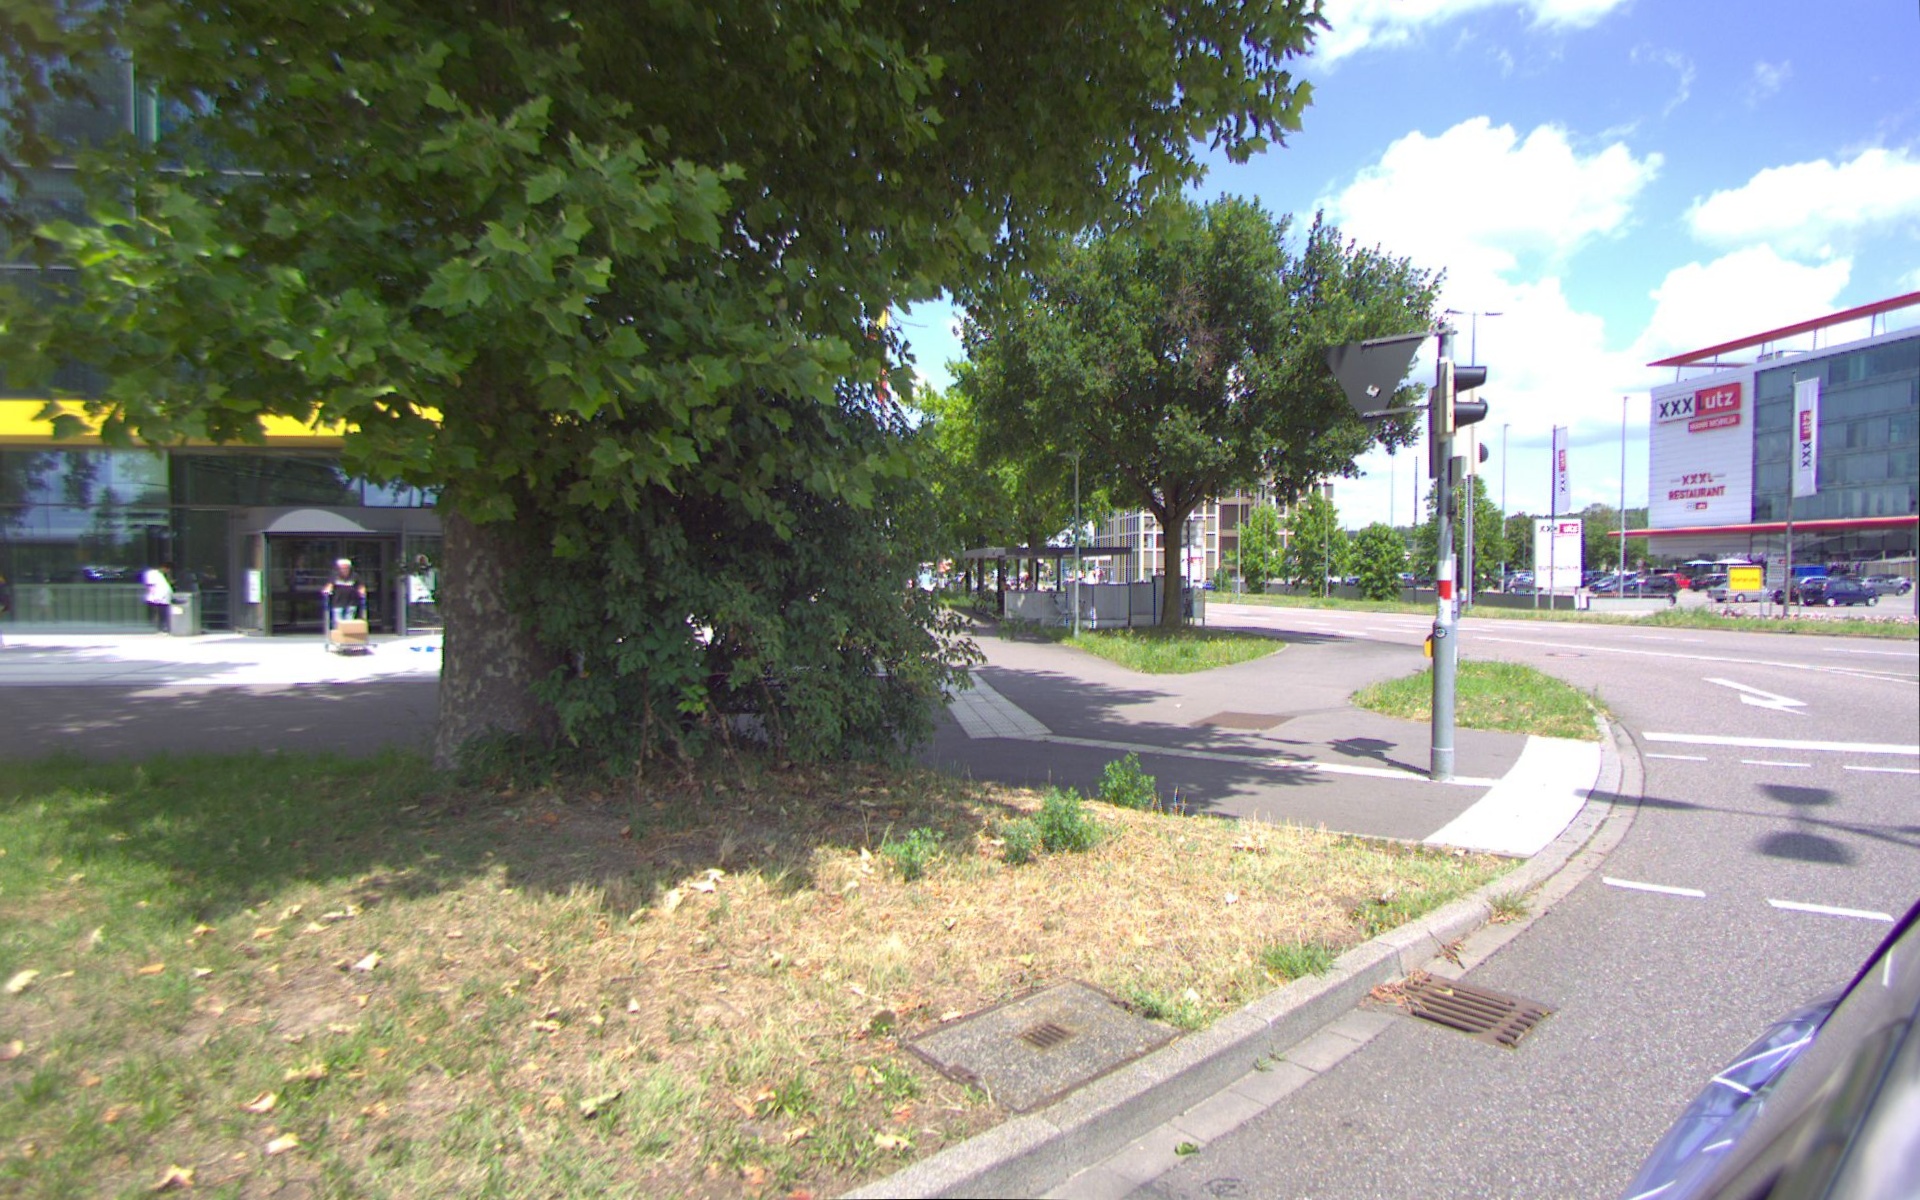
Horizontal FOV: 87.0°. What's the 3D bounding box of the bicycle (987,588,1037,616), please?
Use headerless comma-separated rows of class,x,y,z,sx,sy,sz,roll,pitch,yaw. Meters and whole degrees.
bicycle,1.938,0.073,37.834,1.829,1.007,0.424,0,2,-8

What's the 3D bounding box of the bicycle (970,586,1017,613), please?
bicycle,1.363,-0.025,41.136,1.829,1.007,0.424,2,1,-8

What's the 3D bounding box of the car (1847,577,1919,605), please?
car,69.905,-0.696,76.297,4.277,2.014,2.001,1,0,-3

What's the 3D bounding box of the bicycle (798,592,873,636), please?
bicycle,-3.165,0.353,25.839,1.832,1.007,0.424,3,0,-2

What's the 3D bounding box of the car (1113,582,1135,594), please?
car,21.109,-1.611,130.409,1.762,1.435,4.677,1,1,-2

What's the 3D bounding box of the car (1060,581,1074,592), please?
car,16.674,-2.090,157.691,1.763,1.665,4.171,1,0,-1

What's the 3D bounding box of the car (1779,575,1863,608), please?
car,55.682,-0.544,65.478,4.003,2.014,1.845,-1,1,-5

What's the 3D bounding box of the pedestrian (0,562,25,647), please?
pedestrian,-19.468,0.082,20.450,0.690,1.684,0.805,-1,3,-34

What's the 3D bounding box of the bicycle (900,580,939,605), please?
bicycle,-1.964,-0.384,49.053,2.004,1.121,0.569,3,2,38

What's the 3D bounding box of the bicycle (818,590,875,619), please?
bicycle,-3.691,0.158,32.945,1.829,0.893,0.424,1,1,-8

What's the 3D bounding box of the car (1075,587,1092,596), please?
car,17.694,-1.243,145.469,1.762,1.267,4.309,1,0,-2

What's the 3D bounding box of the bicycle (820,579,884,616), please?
bicycle,-3.772,-0.097,35.347,2.110,1.245,0.720,1,0,6

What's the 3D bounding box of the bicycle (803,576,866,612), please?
bicycle,-3.764,-0.180,30.324,1.829,1.007,0.424,1,2,-8

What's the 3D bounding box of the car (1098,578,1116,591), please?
car,20.817,-2.215,143.705,1.762,1.723,4.229,1,0,-2

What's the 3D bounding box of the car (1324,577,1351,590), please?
car,53.464,-2.328,143.456,1.819,1.856,4.679,1,1,-5

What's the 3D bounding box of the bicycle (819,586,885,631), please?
bicycle,-2.870,0.239,26.890,1.646,1.172,0.462,1,0,-18

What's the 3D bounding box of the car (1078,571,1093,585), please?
car,19.485,-3.362,157.682,1.827,2.069,3.577,1,0,-1

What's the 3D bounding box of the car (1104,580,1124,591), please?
car,20.796,-1.934,136.884,1.762,1.419,4.847,-1,0,-2

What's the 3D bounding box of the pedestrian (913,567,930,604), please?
pedestrian,-1.886,-0.699,49.011,0.522,1.742,0.626,2,2,38

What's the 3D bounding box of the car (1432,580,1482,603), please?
car,52.623,-0.937,107.097,4.276,2.358,2.002,0,1,-4

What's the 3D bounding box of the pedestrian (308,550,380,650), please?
pedestrian,-12.155,-0.005,19.965,0.882,1.909,0.962,0,0,36

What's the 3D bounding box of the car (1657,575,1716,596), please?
car,69.169,-1.402,96.381,4.276,2.014,2.002,0,1,-4

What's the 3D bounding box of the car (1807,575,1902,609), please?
car,55.673,-0.540,63.048,4.276,2.014,2.002,-1,1,-4

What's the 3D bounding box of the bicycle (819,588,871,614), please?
bicycle,-4.150,0.035,36.493,1.831,0.893,0.471,1,0,-3

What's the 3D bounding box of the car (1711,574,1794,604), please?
car,54.893,-0.772,70.170,4.276,2.014,2.002,0,1,-4

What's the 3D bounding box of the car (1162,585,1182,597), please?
car,26.390,-1.118,126.084,1.594,1.488,4.116,1,1,1

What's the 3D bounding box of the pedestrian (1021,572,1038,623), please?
pedestrian,2.313,-0.090,33.435,0.536,1.683,0.545,0,0,7

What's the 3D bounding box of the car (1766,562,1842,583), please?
car,74.390,-2.416,89.225,5.031,1.801,2.201,1,1,-5

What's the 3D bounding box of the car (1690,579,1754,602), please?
car,68.549,-0.901,91.095,4.276,2.014,2.002,0,1,-4

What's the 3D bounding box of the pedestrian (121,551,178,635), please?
pedestrian,-18.701,-0.180,23.358,0.768,1.908,0.617,0,3,5

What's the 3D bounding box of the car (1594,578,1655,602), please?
car,59.334,-0.882,90.423,4.215,2.068,1.993,0,1,-4

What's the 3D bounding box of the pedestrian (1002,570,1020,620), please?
pedestrian,1.748,-0.168,34.587,0.535,1.683,0.479,0,0,-5

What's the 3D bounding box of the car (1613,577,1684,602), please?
car,54.884,-0.855,80.719,4.276,2.014,2.002,0,1,-4

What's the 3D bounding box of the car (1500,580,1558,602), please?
car,53.443,-0.801,95.117,4.276,2.014,2.002,0,0,-4

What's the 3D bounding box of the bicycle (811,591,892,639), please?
bicycle,-2.634,0.364,24.657,1.885,1.121,0.505,0,3,-22

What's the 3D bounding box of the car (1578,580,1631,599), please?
car,67.230,-1.102,105.531,4.276,2.014,2.002,0,1,-4
